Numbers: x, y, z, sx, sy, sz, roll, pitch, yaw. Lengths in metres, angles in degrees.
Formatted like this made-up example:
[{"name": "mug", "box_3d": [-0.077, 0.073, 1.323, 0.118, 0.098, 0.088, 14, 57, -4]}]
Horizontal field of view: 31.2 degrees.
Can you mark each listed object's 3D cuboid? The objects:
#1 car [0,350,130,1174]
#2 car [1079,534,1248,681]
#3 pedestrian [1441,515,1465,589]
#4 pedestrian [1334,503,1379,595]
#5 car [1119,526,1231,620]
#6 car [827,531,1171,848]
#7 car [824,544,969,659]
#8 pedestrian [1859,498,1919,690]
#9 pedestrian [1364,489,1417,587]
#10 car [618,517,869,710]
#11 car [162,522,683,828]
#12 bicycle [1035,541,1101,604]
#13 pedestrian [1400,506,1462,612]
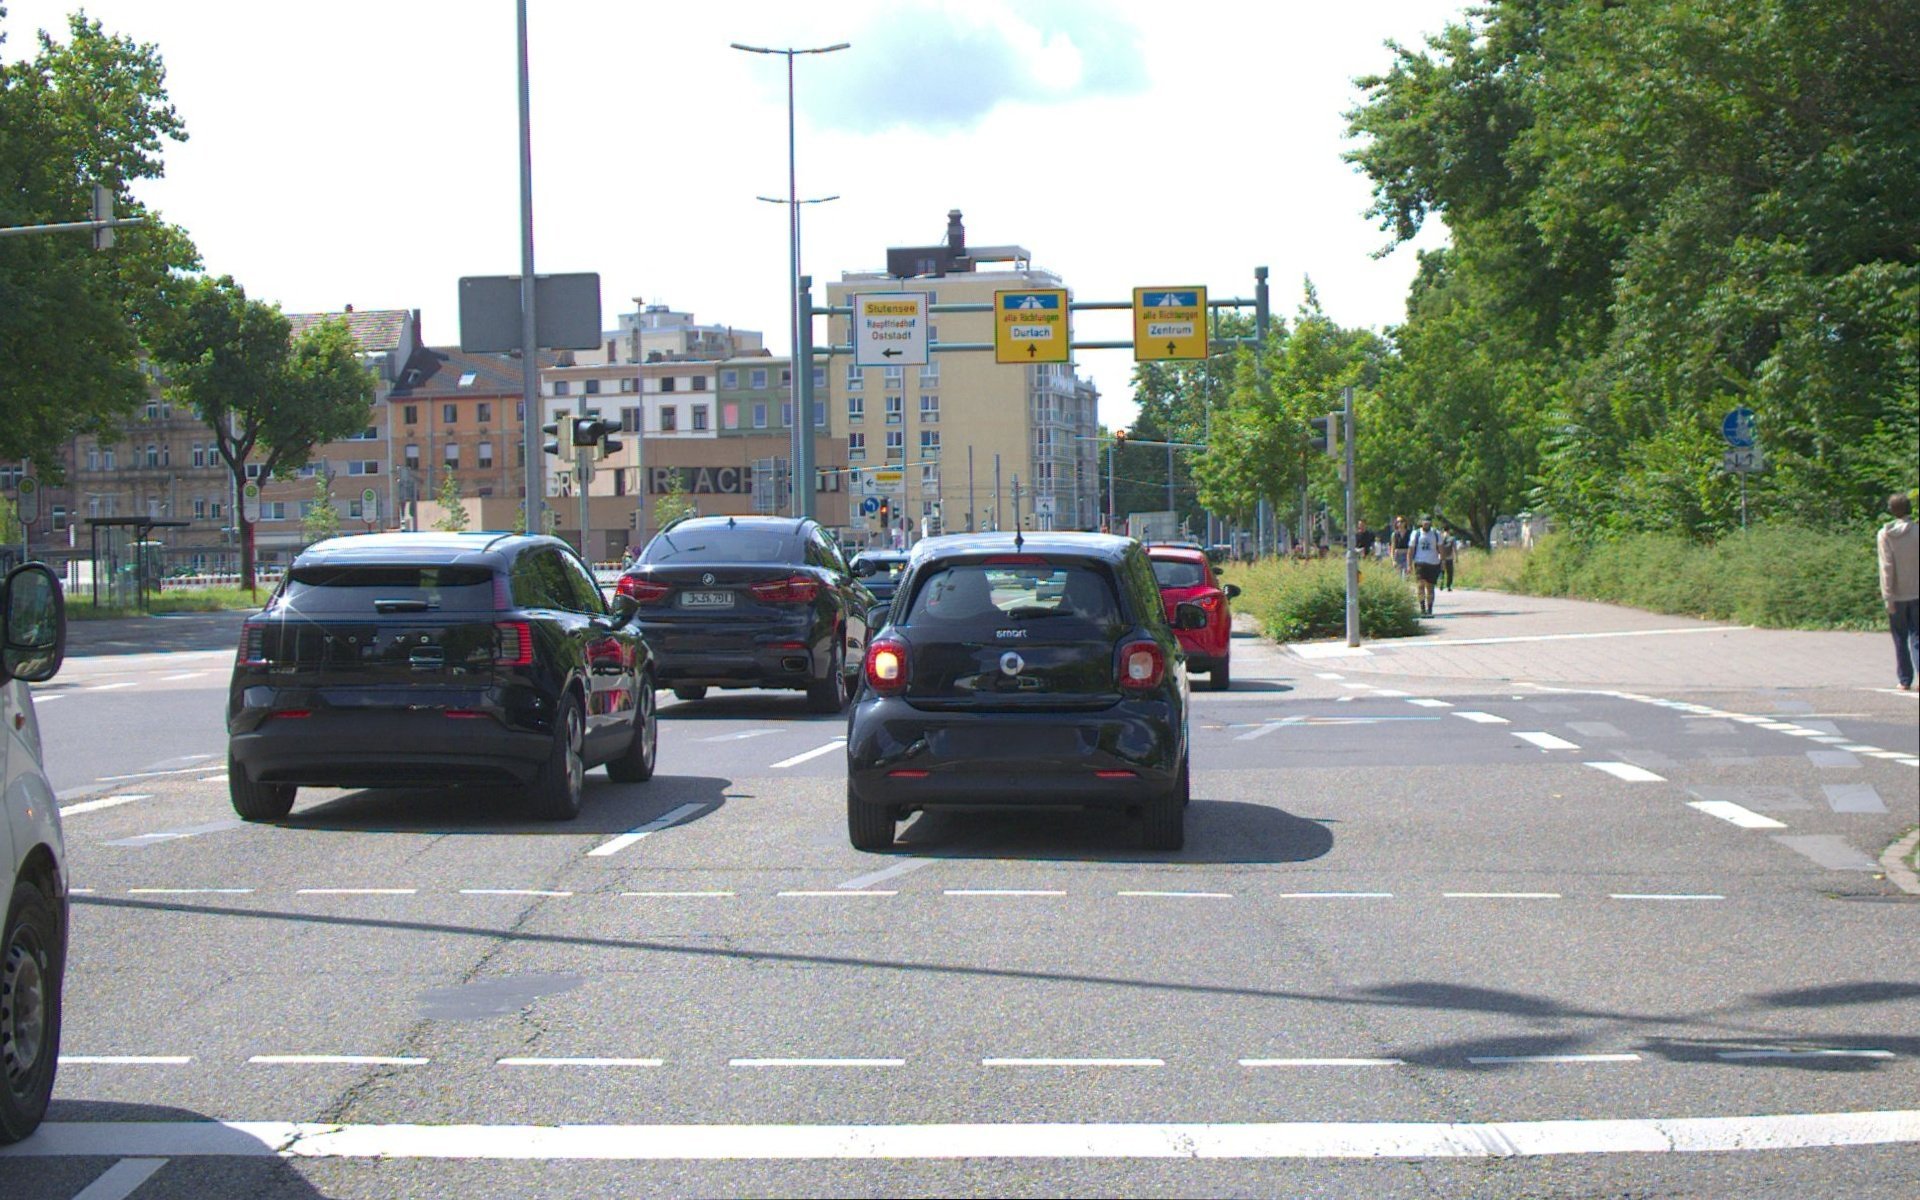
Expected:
[{"name": "car", "box_3d": [-3.273, 0.411, 6.800, 2.006, 1.949, 5.194, 0, 1, 0]}, {"name": "car", "box_3d": [2.051, 0.039, 35.411, 1.611, 1.406, 3.517, 1, 1, 2]}, {"name": "pedestrian", "box_3d": [12.646, -1.220, 88.167, 0.501, 1.884, 0.560, 0, 1, -1]}, {"name": "pedestrian", "box_3d": [8.639, -1.110, 74.962, 0.838, 1.962, 0.861, -1, 1, 0]}, {"name": "car", "box_3d": [3.351, -0.453, 54.076, 1.611, 1.406, 3.517, 1, 1, 2]}, {"name": "car", "box_3d": [0.231, 0.387, 17.910, 1.611, 1.480, 3.517, 0, 1, 2]}, {"name": "car", "box_3d": [-0.747, -0.008, 42.377, 1.611, 1.320, 3.517, -1, 1, 2]}, {"name": "pedestrian", "box_3d": [8.580, -0.071, 31.048, 0.795, 1.698, 1.182, 0, 2, 10]}, {"name": "pedestrian", "box_3d": [8.239, -1.187, 65.844, 0.838, 1.861, 1.019, -1, 1, 0]}, {"name": "car", "box_3d": [-1.846, 0.059, 30.549, 1.827, 1.595, 4.393, 0, 1, 2]}, {"name": "car", "box_3d": [-2.946, 0.328, 19.985, 2.017, 1.524, 4.887, 0, 2, 3]}, {"name": "bicycle", "box_3d": [3.509, -0.899, 112.357, 1.993, 2.007, 4.000, 0, 1, 0]}, {"name": "pedestrian", "box_3d": [7.737, -0.669, 56.517, 0.851, 1.695, 0.931, -3, 0, 2]}]
